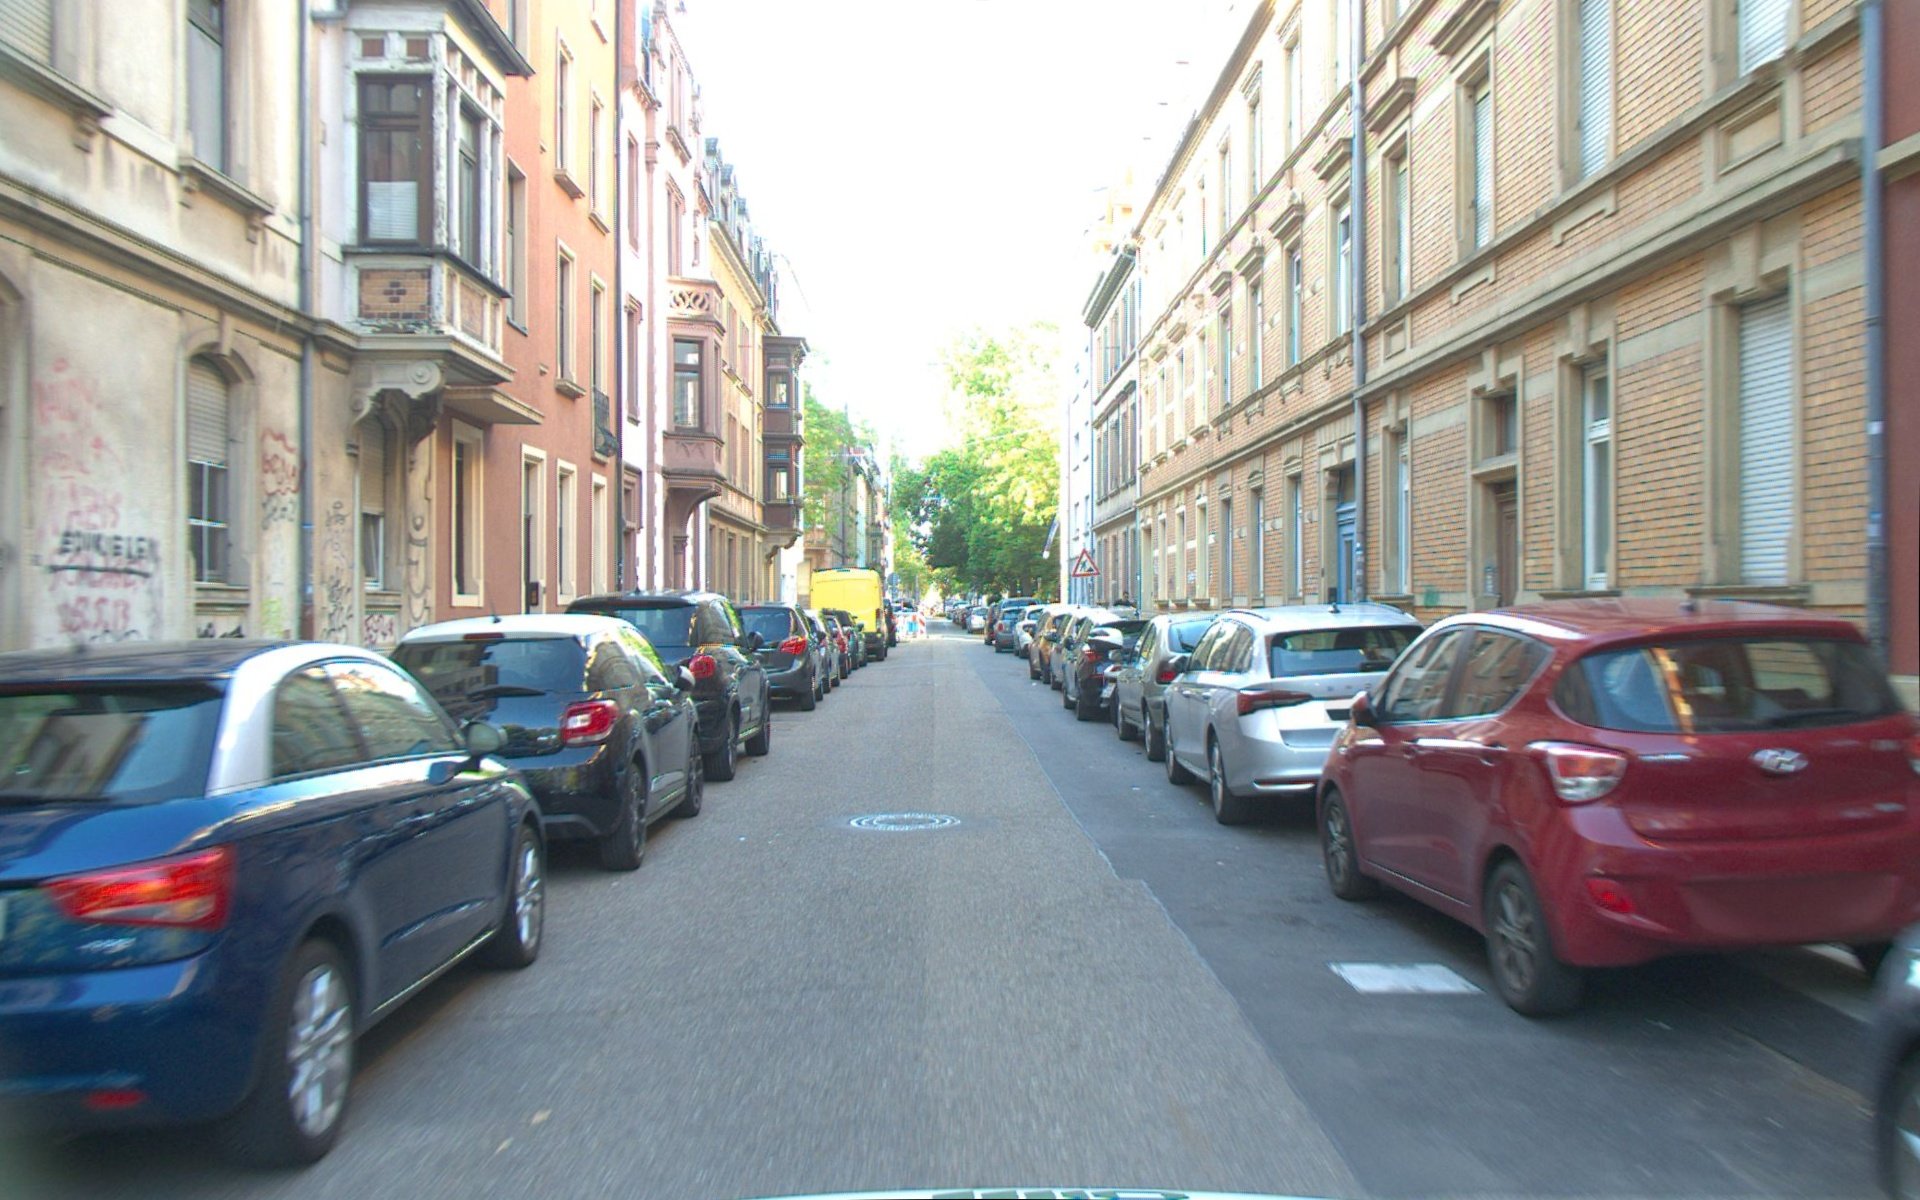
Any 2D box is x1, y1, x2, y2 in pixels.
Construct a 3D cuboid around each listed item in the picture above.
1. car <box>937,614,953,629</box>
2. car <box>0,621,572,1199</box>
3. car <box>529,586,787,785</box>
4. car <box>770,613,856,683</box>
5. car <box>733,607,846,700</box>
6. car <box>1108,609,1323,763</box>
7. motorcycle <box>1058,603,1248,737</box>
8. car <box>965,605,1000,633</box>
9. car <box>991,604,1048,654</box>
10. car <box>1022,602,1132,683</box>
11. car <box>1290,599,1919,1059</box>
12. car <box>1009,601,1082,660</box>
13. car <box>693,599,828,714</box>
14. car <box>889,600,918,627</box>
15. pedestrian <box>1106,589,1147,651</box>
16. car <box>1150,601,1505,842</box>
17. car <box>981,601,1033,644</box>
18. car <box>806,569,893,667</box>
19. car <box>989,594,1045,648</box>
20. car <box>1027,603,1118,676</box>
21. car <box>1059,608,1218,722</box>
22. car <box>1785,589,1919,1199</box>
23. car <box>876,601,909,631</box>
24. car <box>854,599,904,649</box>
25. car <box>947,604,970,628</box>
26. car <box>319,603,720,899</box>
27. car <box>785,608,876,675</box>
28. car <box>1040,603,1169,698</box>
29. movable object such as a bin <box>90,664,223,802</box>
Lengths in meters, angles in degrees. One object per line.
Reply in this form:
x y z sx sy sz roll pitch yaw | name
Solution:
-1.839 2.689 204.631 1.953 1.758 3.999 -1 0 -1 | car
-2.574 0.811 5.643 1.745 1.428 3.741 0 0 -2 | car
-2.747 0.722 15.927 1.725 1.646 4.188 0 0 0 | car
-3.185 1.015 36.355 1.585 1.349 3.611 -3 0 -2 | car
-3.085 0.942 30.592 1.660 1.500 3.918 -3 0 -1 | car
2.617 0.830 17.774 1.657 1.431 3.992 -1 0 0 | car
2.390 0.858 20.430 2.193 1.563 0.882 2 0 -27 | motorcycle
1.275 1.098 95.338 1.689 1.549 3.997 -1 0 -4 | car
1.974 0.944 55.813 1.718 1.478 4.288 -5 0 1 | car
2.361 0.848 34.320 1.719 1.471 4.067 -4 0 -3 | car
2.822 0.758 7.545 1.626 1.505 4.022 -1 0 -3 | car
2.526 0.879 49.936 1.719 1.544 4.441 -5 0 -2 | car
-3.005 0.812 25.639 1.745 1.634 4.067 0 0 -2 | car
-4.735 1.146 139.382 2.262 2.151 5.169 -1 -1 0 | car
4.567 0.565 45.437 0.650 1.659 0.867 -1 -2 -43 | pedestrian
2.587 0.770 12.708 1.726 1.510 4.401 -1 0 0 | car
1.839 0.899 65.918 1.862 1.669 4.389 0 -1 -1 | car
-3.109 0.508 47.716 2.131 2.551 5.876 -3 0 -1 | car
2.076 0.750 61.254 1.718 1.817 4.722 -3 0 -1 | car
2.620 0.895 39.299 1.686 1.506 4.081 -4 0 -2 | car
2.422 0.847 23.390 1.741 1.421 4.317 0 0 0 | car
2.856 0.740 2.023 1.642 1.529 4.068 0 0 0 | car
-4.130 0.994 101.470 1.843 1.737 3.999 -2 -1 0 | car
-3.089 0.896 62.395 1.782 1.797 4.332 0 0 -4 | car
-0.142 1.615 166.754 2.117 2.295 4.523 0 -1 -2 | car
-2.616 0.803 10.708 1.610 1.481 3.837 -3 0 -2 | car
-3.164 0.995 41.037 1.683 1.437 3.898 -5 0 2 | car
2.504 0.843 29.578 1.691 1.442 4.092 -5 0 -3 | car
-5.757 0.938 11.882 0.600 0.936 0.733 0 -1 -1 | movable object such as a bin
